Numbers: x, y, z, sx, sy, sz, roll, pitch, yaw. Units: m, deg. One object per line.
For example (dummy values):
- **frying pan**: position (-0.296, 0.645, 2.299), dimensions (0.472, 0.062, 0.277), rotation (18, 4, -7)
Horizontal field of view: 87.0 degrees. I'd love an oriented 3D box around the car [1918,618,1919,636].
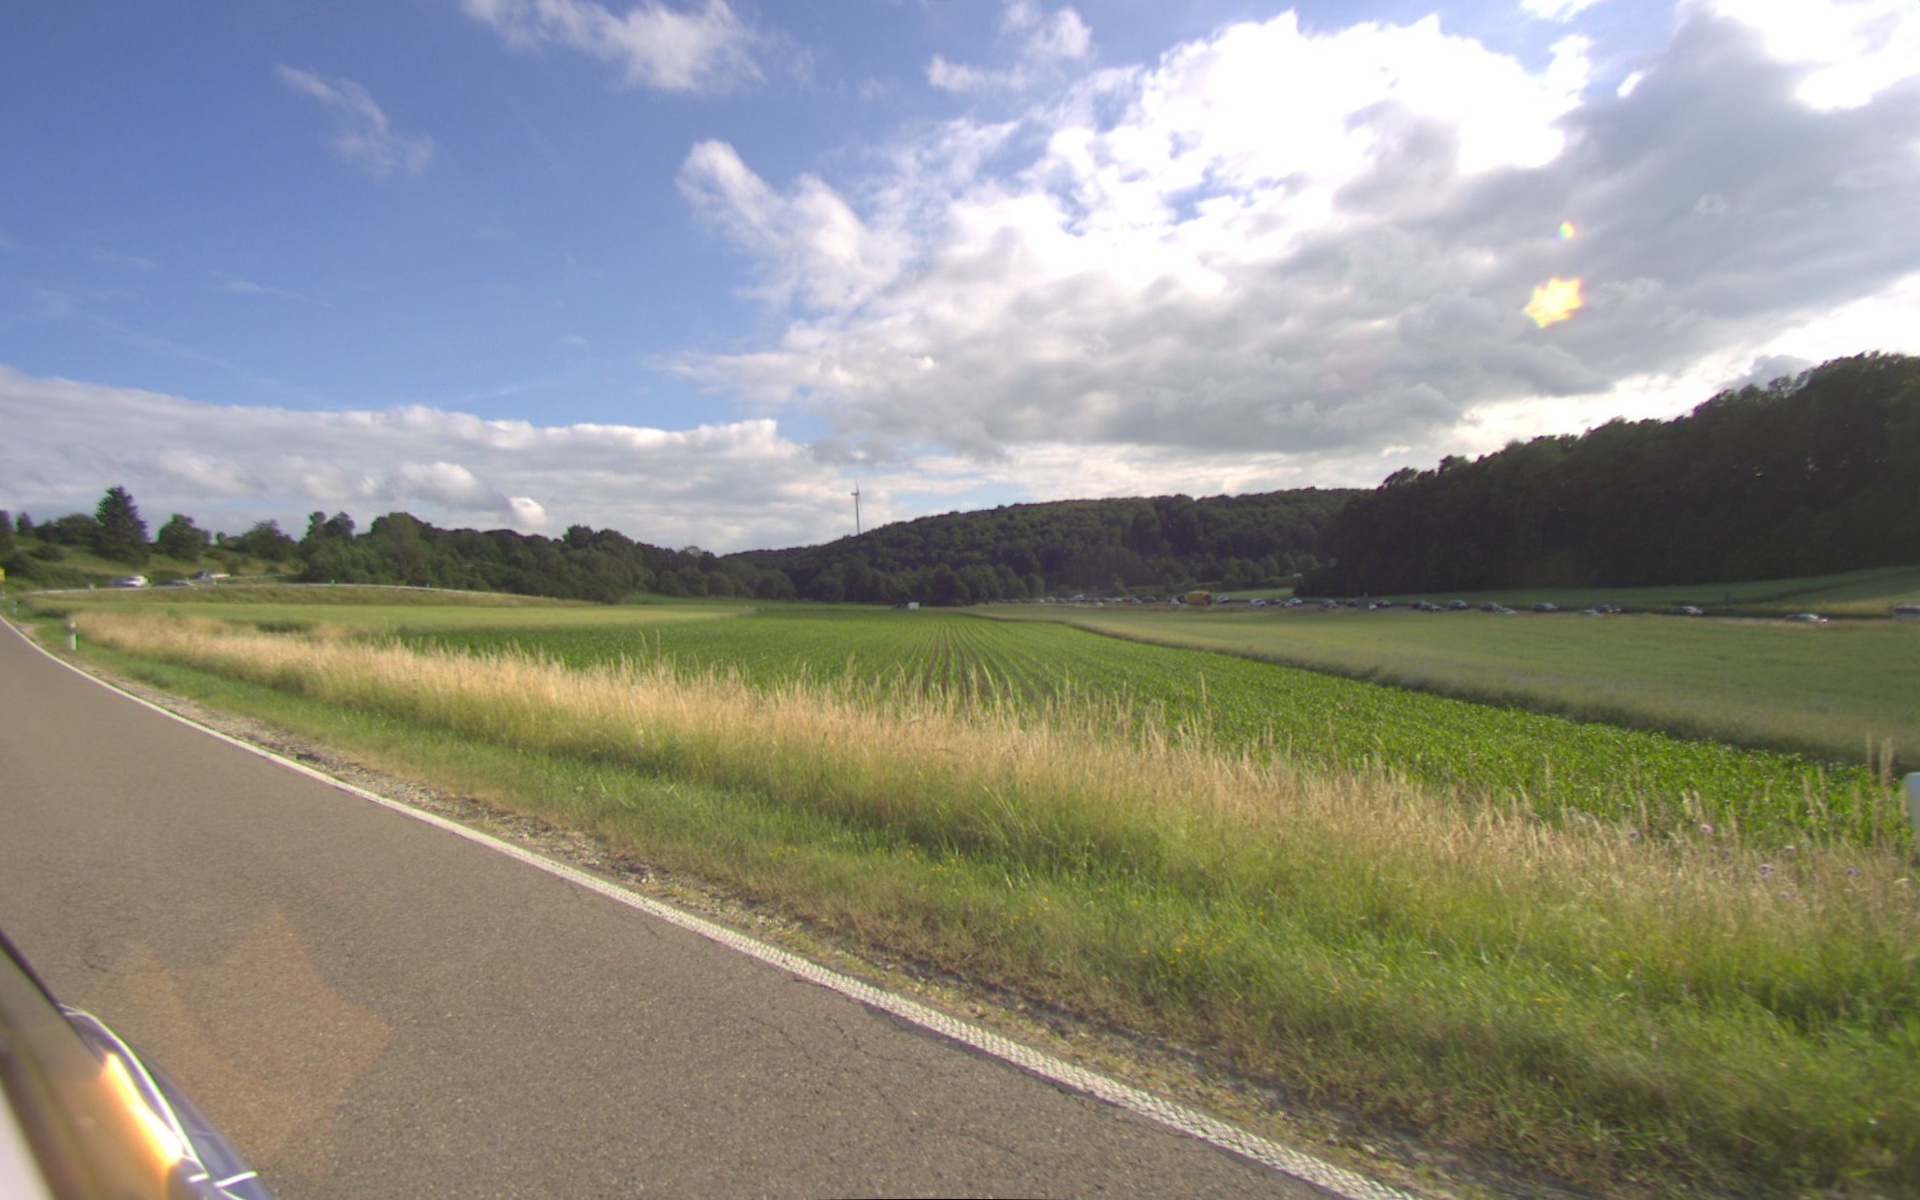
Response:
- **car**: position (97.606, 2.712, 100.083), dimensions (1.973, 1.741, 3.998), rotation (1, 0, 1)
